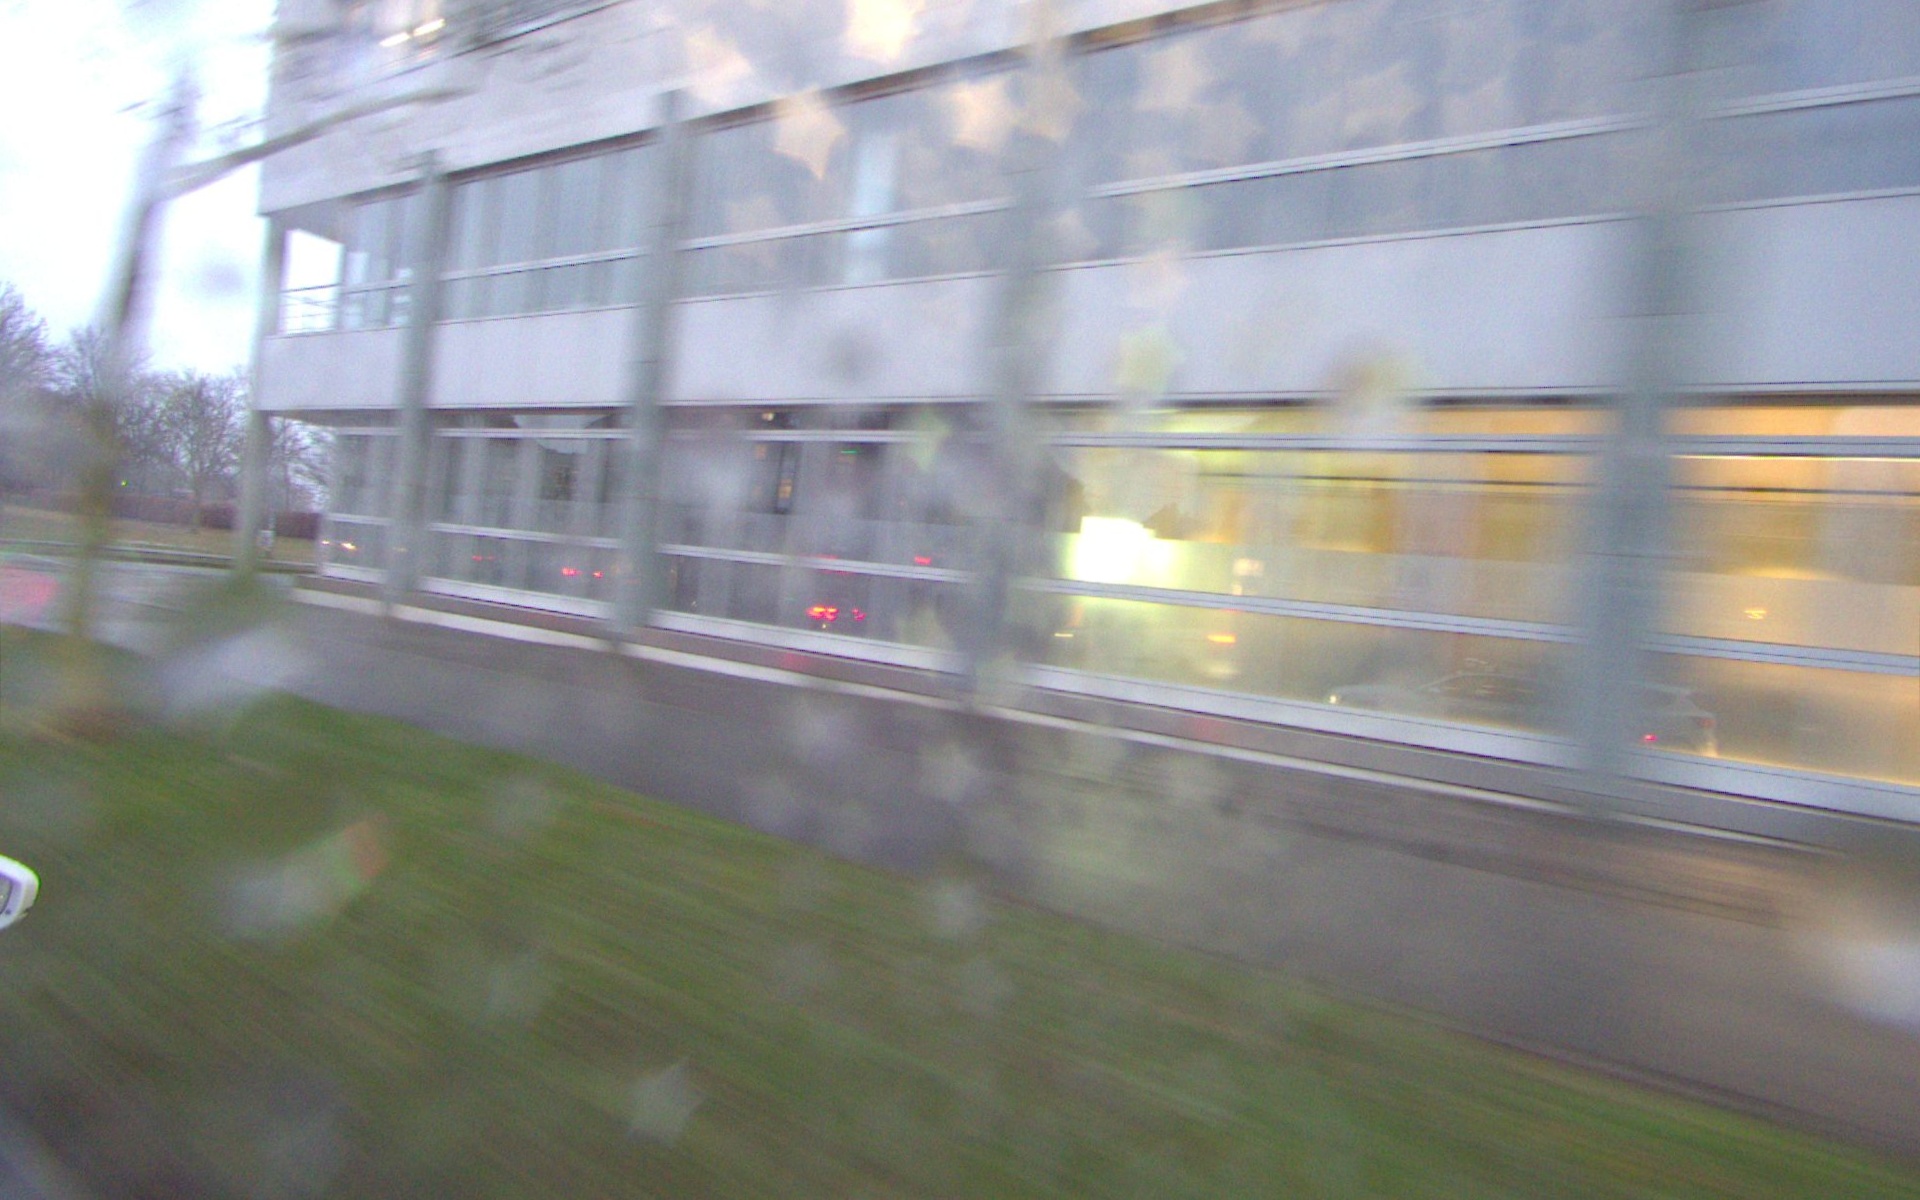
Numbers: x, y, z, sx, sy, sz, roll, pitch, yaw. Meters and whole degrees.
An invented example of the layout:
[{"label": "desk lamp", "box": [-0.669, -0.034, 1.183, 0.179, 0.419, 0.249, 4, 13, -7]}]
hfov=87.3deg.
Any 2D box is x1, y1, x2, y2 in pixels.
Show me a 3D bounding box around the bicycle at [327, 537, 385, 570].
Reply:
[{"label": "bicycle", "box": [-27.556, -2.098, 45.933, 1.022, 1.231, 1.966, 8, 1, 28]}]
